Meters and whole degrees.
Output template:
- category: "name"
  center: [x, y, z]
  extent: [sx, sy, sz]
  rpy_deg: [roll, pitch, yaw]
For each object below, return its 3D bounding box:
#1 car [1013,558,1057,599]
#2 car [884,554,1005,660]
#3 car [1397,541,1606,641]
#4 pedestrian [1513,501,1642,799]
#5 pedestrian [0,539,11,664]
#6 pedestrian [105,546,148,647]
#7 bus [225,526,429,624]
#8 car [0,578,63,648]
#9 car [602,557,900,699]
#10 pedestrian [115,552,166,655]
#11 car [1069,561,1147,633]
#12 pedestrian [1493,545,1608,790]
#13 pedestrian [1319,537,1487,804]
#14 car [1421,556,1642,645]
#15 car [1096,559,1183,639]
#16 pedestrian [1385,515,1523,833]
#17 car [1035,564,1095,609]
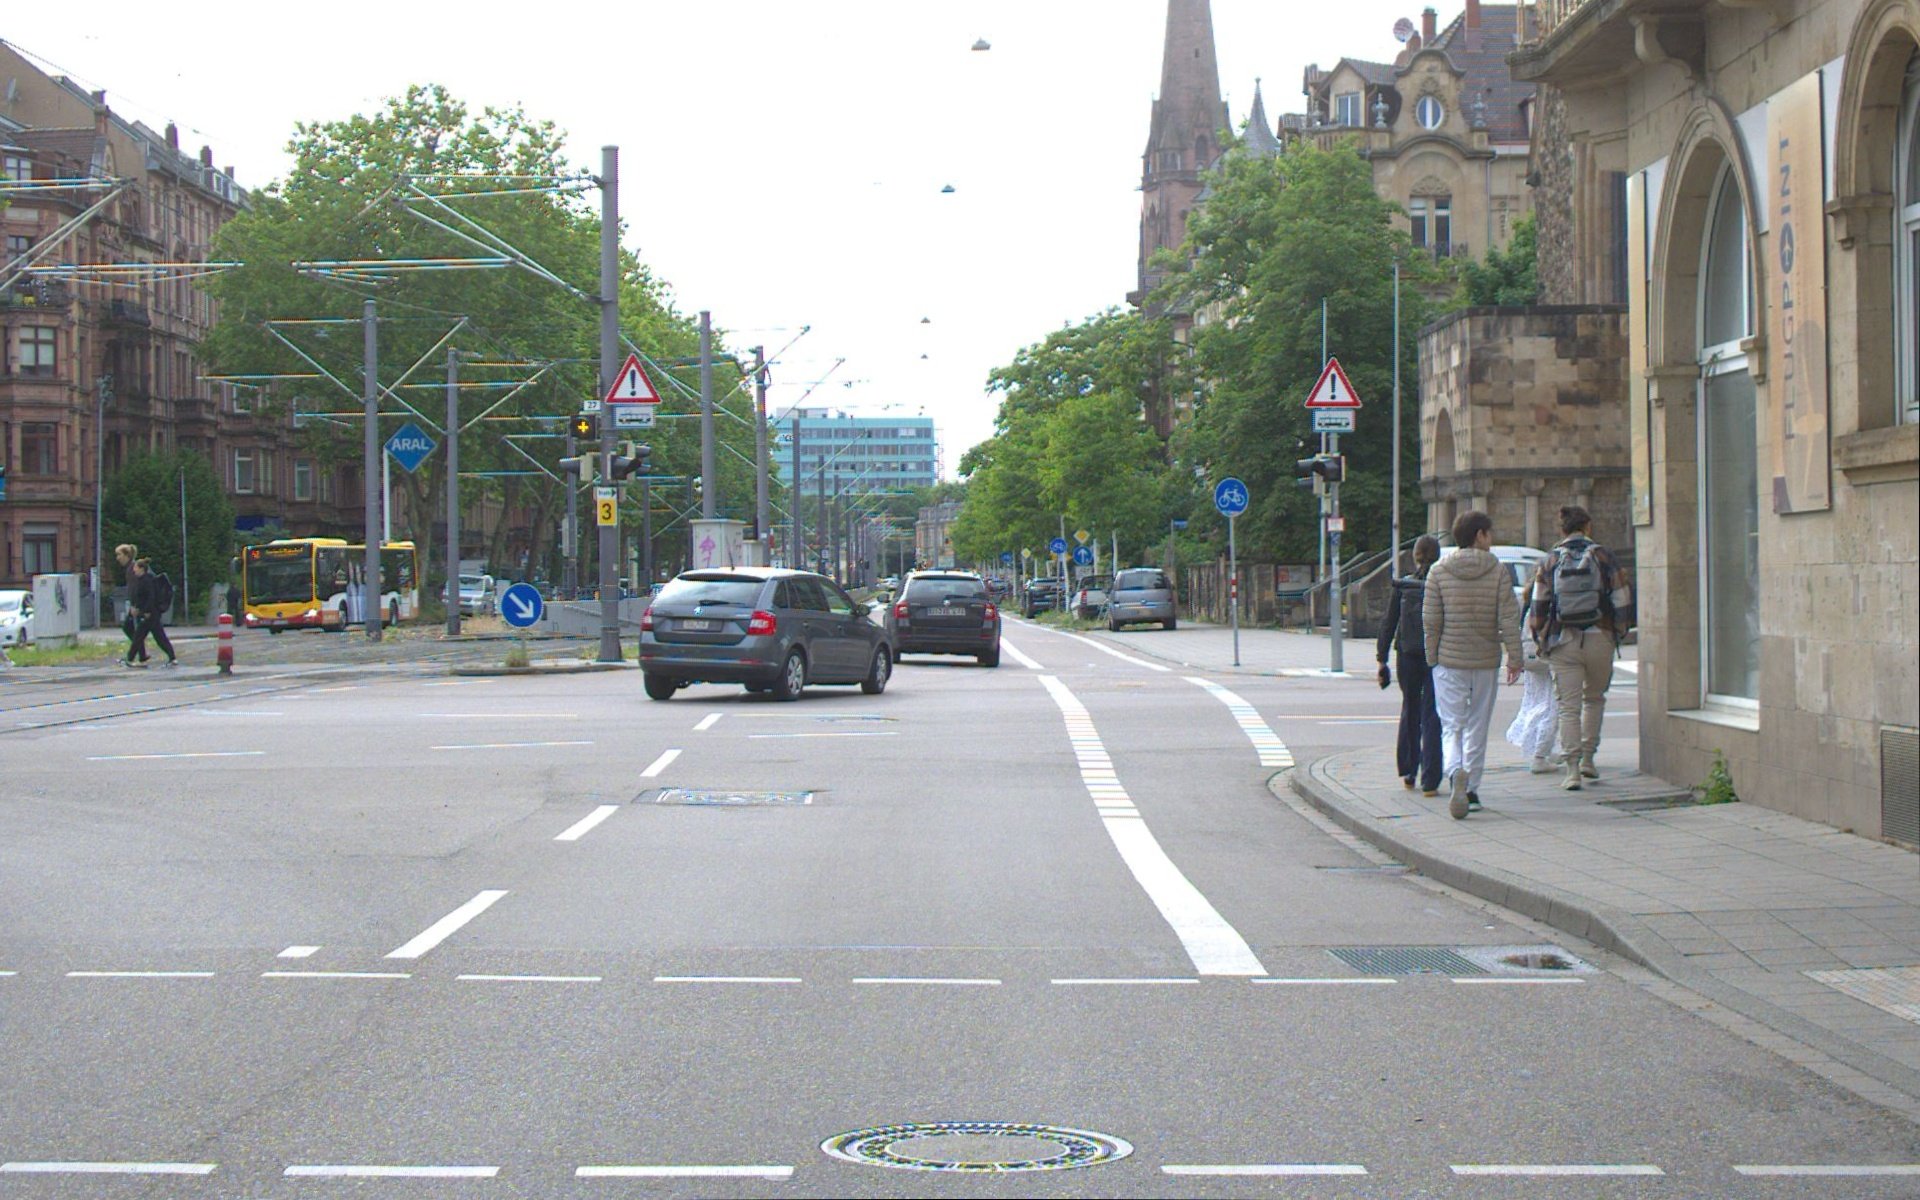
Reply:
- category: "car"
  center: [3.744, -1.071, 172.075]
  extent: [1.993, 2.007, 4.000]
  rpy_deg: [1, 0, -1]
- category: "car"
  center: [-0.253, 0.093, 54.001]
  extent: [1.806, 1.581, 4.341]
  rpy_deg: [1, 0, -1]
- category: "car"
  center: [10.725, -0.174, 68.316]
  extent: [3.799, 1.897, 2.000]
  rpy_deg: [1, 0, 0]
- category: "pedestrian"
  center: [3.824, 0.306, 21.361]
  extent: [0.626, 1.772, 1.134]
  rpy_deg: [-3, 0, 7]
- category: "pedestrian"
  center: [-13.956, 0.016, 49.253]
  extent: [0.573, 1.788, 0.519]
  rpy_deg: [1, 0, -5]
- category: "pedestrian"
  center: [-12.635, -0.054, 52.147]
  extent: [0.545, 1.532, 0.466]
  rpy_deg: [1, 0, -5]
- category: "bus"
  center: [-21.346, -0.819, 116.977]
  extent: [3.085, 3.101, 13.091]
  rpy_deg: [1, 0, 7]
- category: "car"
  center: [-22.085, 0.273, 79.152]
  extent: [1.894, 1.552, 3.836]
  rpy_deg: [1, 0, -1]
- category: "car"
  center: [-2.249, 0.290, 38.176]
  extent: [1.837, 1.464, 3.988]
  rpy_deg: [1, 0, 20]
- category: "pedestrian"
  center: [-12.293, 0.051, 51.567]
  extent: [0.653, 1.532, 0.466]
  rpy_deg: [1, 0, -5]
- category: "car"
  center: [4.274, -0.102, 99.670]
  extent: [1.993, 2.007, 4.000]
  rpy_deg: [1, 0, -1]
- category: "pedestrian"
  center: [3.925, 0.440, 22.901]
  extent: [0.700, 1.587, 0.831]
  rpy_deg: [1, 0, 8]
- category: "pedestrian"
  center: [2.827, 0.436, 21.881]
  extent: [0.627, 1.647, 0.994]
  rpy_deg: [1, 0, 37]
- category: "car"
  center: [10.762, 0.001, 64.906]
  extent: [3.799, 1.595, 2.000]
  rpy_deg: [1, 0, 0]
- category: "car"
  center: [4.680, -0.040, 90.120]
  extent: [1.993, 2.007, 4.000]
  rpy_deg: [1, 0, -1]
- category: "pedestrian"
  center: [2.911, 0.421, 20.205]
  extent: [0.583, 1.807, 1.014]
  rpy_deg: [1, 0, 19]
- category: "car"
  center: [3.897, -0.496, 128.483]
  extent: [1.993, 1.602, 4.164]
  rpy_deg: [-2, 0, -1]
